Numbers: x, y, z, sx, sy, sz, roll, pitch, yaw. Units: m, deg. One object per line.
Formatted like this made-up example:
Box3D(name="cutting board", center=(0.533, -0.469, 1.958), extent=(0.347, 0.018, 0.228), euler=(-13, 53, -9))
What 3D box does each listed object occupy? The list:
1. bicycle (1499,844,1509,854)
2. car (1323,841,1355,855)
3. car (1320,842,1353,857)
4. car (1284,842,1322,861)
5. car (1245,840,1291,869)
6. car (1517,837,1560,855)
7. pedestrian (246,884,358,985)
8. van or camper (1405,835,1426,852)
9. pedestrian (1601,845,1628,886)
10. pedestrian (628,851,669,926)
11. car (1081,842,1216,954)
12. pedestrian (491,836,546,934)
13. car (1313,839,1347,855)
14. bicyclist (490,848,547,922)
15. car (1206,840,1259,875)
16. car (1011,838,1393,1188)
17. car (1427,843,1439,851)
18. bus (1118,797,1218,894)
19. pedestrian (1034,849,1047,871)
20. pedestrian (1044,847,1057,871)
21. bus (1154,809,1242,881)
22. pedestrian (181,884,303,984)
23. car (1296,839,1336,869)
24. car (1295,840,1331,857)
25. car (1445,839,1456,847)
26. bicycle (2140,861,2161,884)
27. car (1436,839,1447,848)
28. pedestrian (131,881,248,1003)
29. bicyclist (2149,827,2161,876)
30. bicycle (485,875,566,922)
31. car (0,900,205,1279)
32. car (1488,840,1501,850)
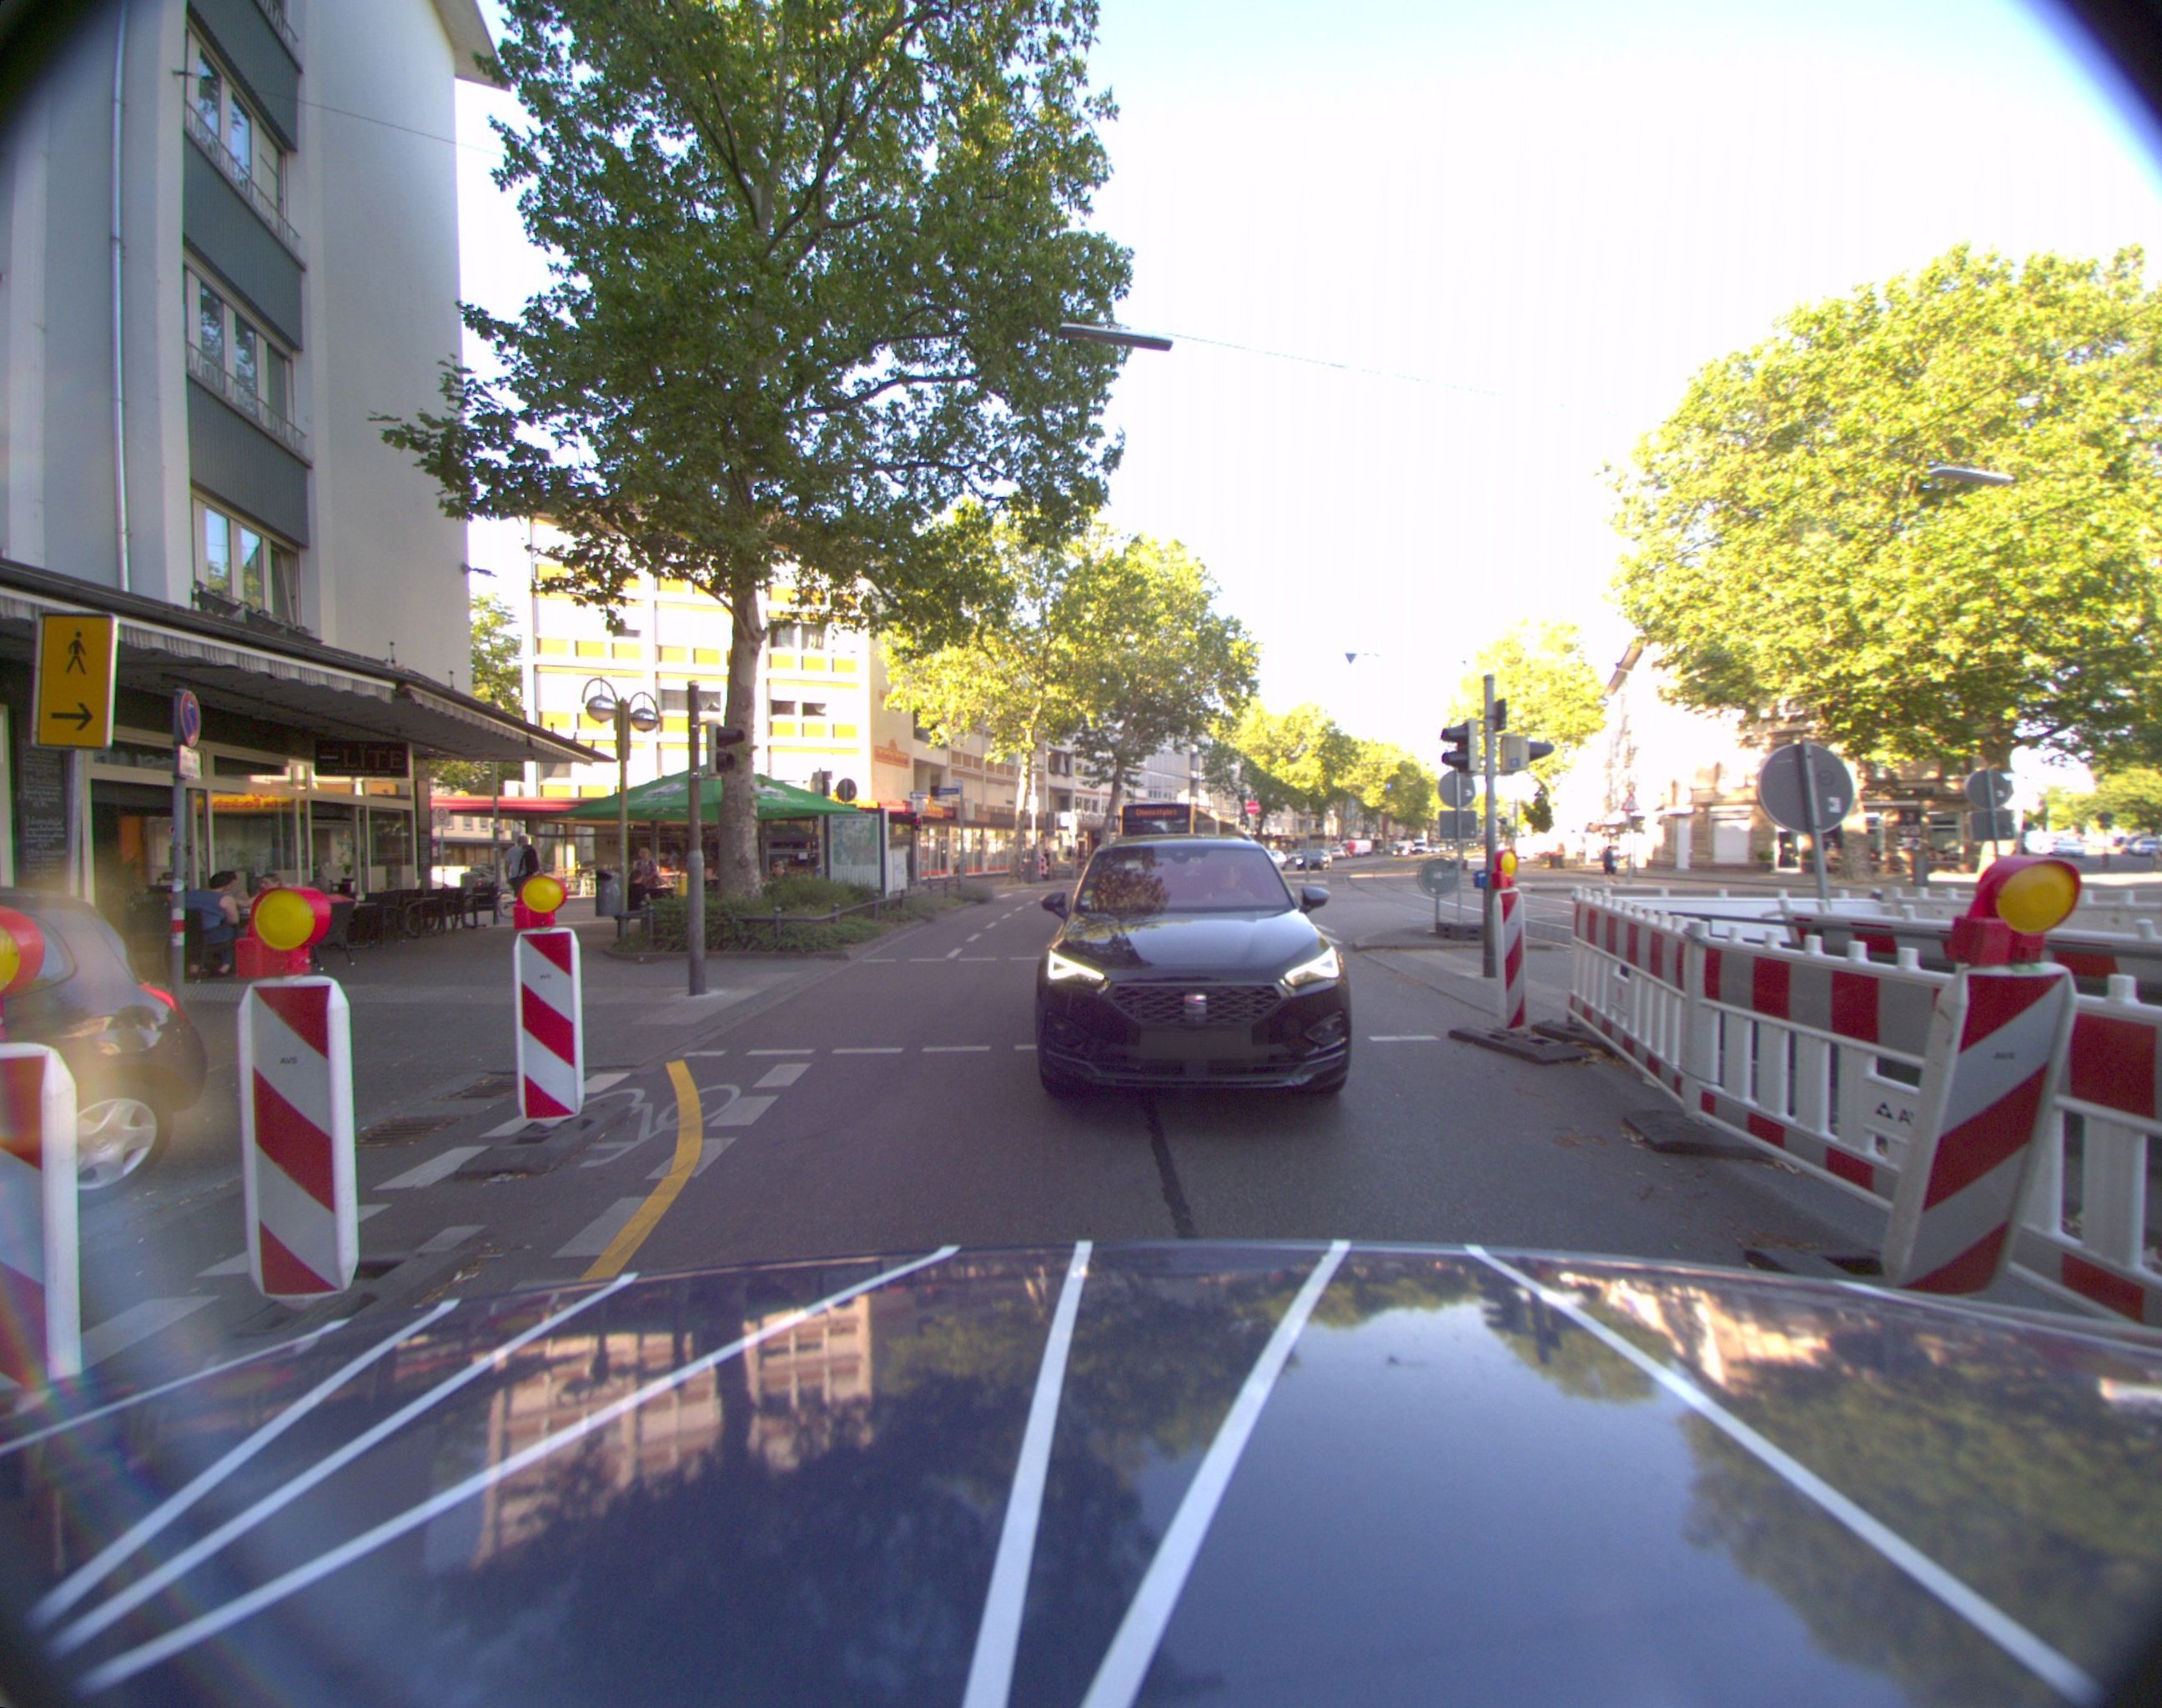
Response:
Box3D(name="bicycle", center=(46.768, -0.562, 84.018), extent=(0.850, 1.186, 2.470), euler=(0, 1, 27))
Box3D(name="car", center=(36.572, -0.882, 107.919), extent=(3.994, 2.002, 2.001), euler=(-1, 1, 8))
Box3D(name="car", center=(34.859, -0.588, 103.699), extent=(3.994, 2.002, 2.001), euler=(-1, 1, 8))
Box3D(name="car", center=(24.967, -0.278, 85.416), extent=(3.991, 2.002, 2.003), euler=(0, 1, 18))
Box3D(name="car", center=(13.637, 0.001, 55.252), extent=(1.994, 2.002, 4.008), euler=(0, 1, 33))
Box3D(name="car", center=(52.435, -0.975, 87.163), extent=(4.001, 2.002, 1.997), euler=(-1, 1, -13))
Box3D(name="pedestrian", center=(-9.920, 0.995, 9.686), extent=(0.877, 1.186, 0.701), euler=(0, 1, 24))
Box3D(name="van or camper", center=(56.120, -1.729, 127.411), extent=(2.420, 2.702, 6.144), euler=(0, 1, 32))
Box3D(name="pedestrian", center=(20.343, 0.426, 28.988), extent=(0.603, 1.524, 0.745), euler=(0, 1, 12))
Box3D(name="pedestrian", center=(-9.551, 0.751, 16.794), extent=(0.629, 1.628, 0.531), euler=(-1, 1, -15))
Box3D(name="car", center=(1.035, 0.634, 13.314), extent=(1.998, 1.634, 4.075), euler=(-1, 1, 1))
Box3D(name="pedestrian", center=(-11.613, 0.620, 15.704), extent=(0.649, 1.948, 0.888), euler=(-1, 1, -20))
Box3D(name="car", center=(32.376, -0.889, 98.851), extent=(3.994, 2.002, 2.001), euler=(-1, 1, 8))
Box3D(name="bicyclist", center=(-14.205, 0.771, 19.199), extent=(0.923, 1.816, 0.755), euler=(0, 1, 23))
Box3D(name="car", center=(9.292, 0.167, 46.391), extent=(1.995, 2.002, 4.105), euler=(0, 1, 29))
Box3D(name="car", center=(0.619, 0.756, 5.689), extent=(1.841, 1.696, 4.000), euler=(-1, 1, 1))
Box3D(name="car", center=(66.623, -1.366, 143.771), extent=(1.700, 1.462, 3.771), euler=(0, 1, 31))
Box3D(name="bus", center=(3.524, -0.304, 28.661), extent=(2.718, 3.088, 8.629), euler=(0, 1, 13))
Box3D(name="pedestrian", center=(-2.624, 0.390, 48.964), extent=(0.627, 1.429, 0.532), euler=(0, 1, 20))
Box3D(name="pedestrian", center=(-1.965, 0.325, 48.743), extent=(0.627, 1.577, 0.532), euler=(0, 1, 20))
Box3D(name="bus", center=(5.922, -0.431, 37.066), extent=(2.717, 3.088, 8.608), euler=(0, 1, 19))
Box3D(name="pedestrian", center=(-10.723, 0.995, 9.733), extent=(0.647, 1.186, 0.792), euler=(0, 1, 7))
Box3D(name="car", center=(16.625, -0.028, 53.565), extent=(1.995, 2.002, 4.007), euler=(0, 1, 27))
Box3D(name="car", center=(28.383, -0.721, 92.988), extent=(3.994, 2.002, 2.001), euler=(-1, 1, 8))
Box3D(name="car", center=(86.894, -2.537, 178.583), extent=(1.836, 1.792, 4.138), euler=(0, 1, 31))
Box3D(name="bicycle", center=(37.744, 0.636, 26.406), extent=(1.993, 0.777, 0.680), euler=(-1, 1, -23))
Box3D(name="car", center=(75.400, -2.115, 158.896), extent=(1.836, 1.792, 4.138), euler=(0, 1, 31))
Box3D(name="pedestrian", center=(-10.332, 0.979, 8.819), extent=(0.789, 1.299, 0.701), euler=(0, 1, 28))
Box3D(name="bicyclist", center=(37.968, -0.084, 26.490), extent=(0.766, 1.718, 0.672), euler=(-1, 1, -23))
Box3D(name="bicycle", center=(-13.986, 1.123, 19.118), extent=(1.882, 1.123, 0.753), euler=(-2, 0, 23))
Box3D(name="car", center=(-5.212, 0.974, 1.956), extent=(1.771, 1.459, 3.610), euler=(2, 1, -2))
Box3D(name="car", center=(78.789, -1.732, 144.702), extent=(1.994, 2.002, 4.007), euler=(0, 1, 29))
